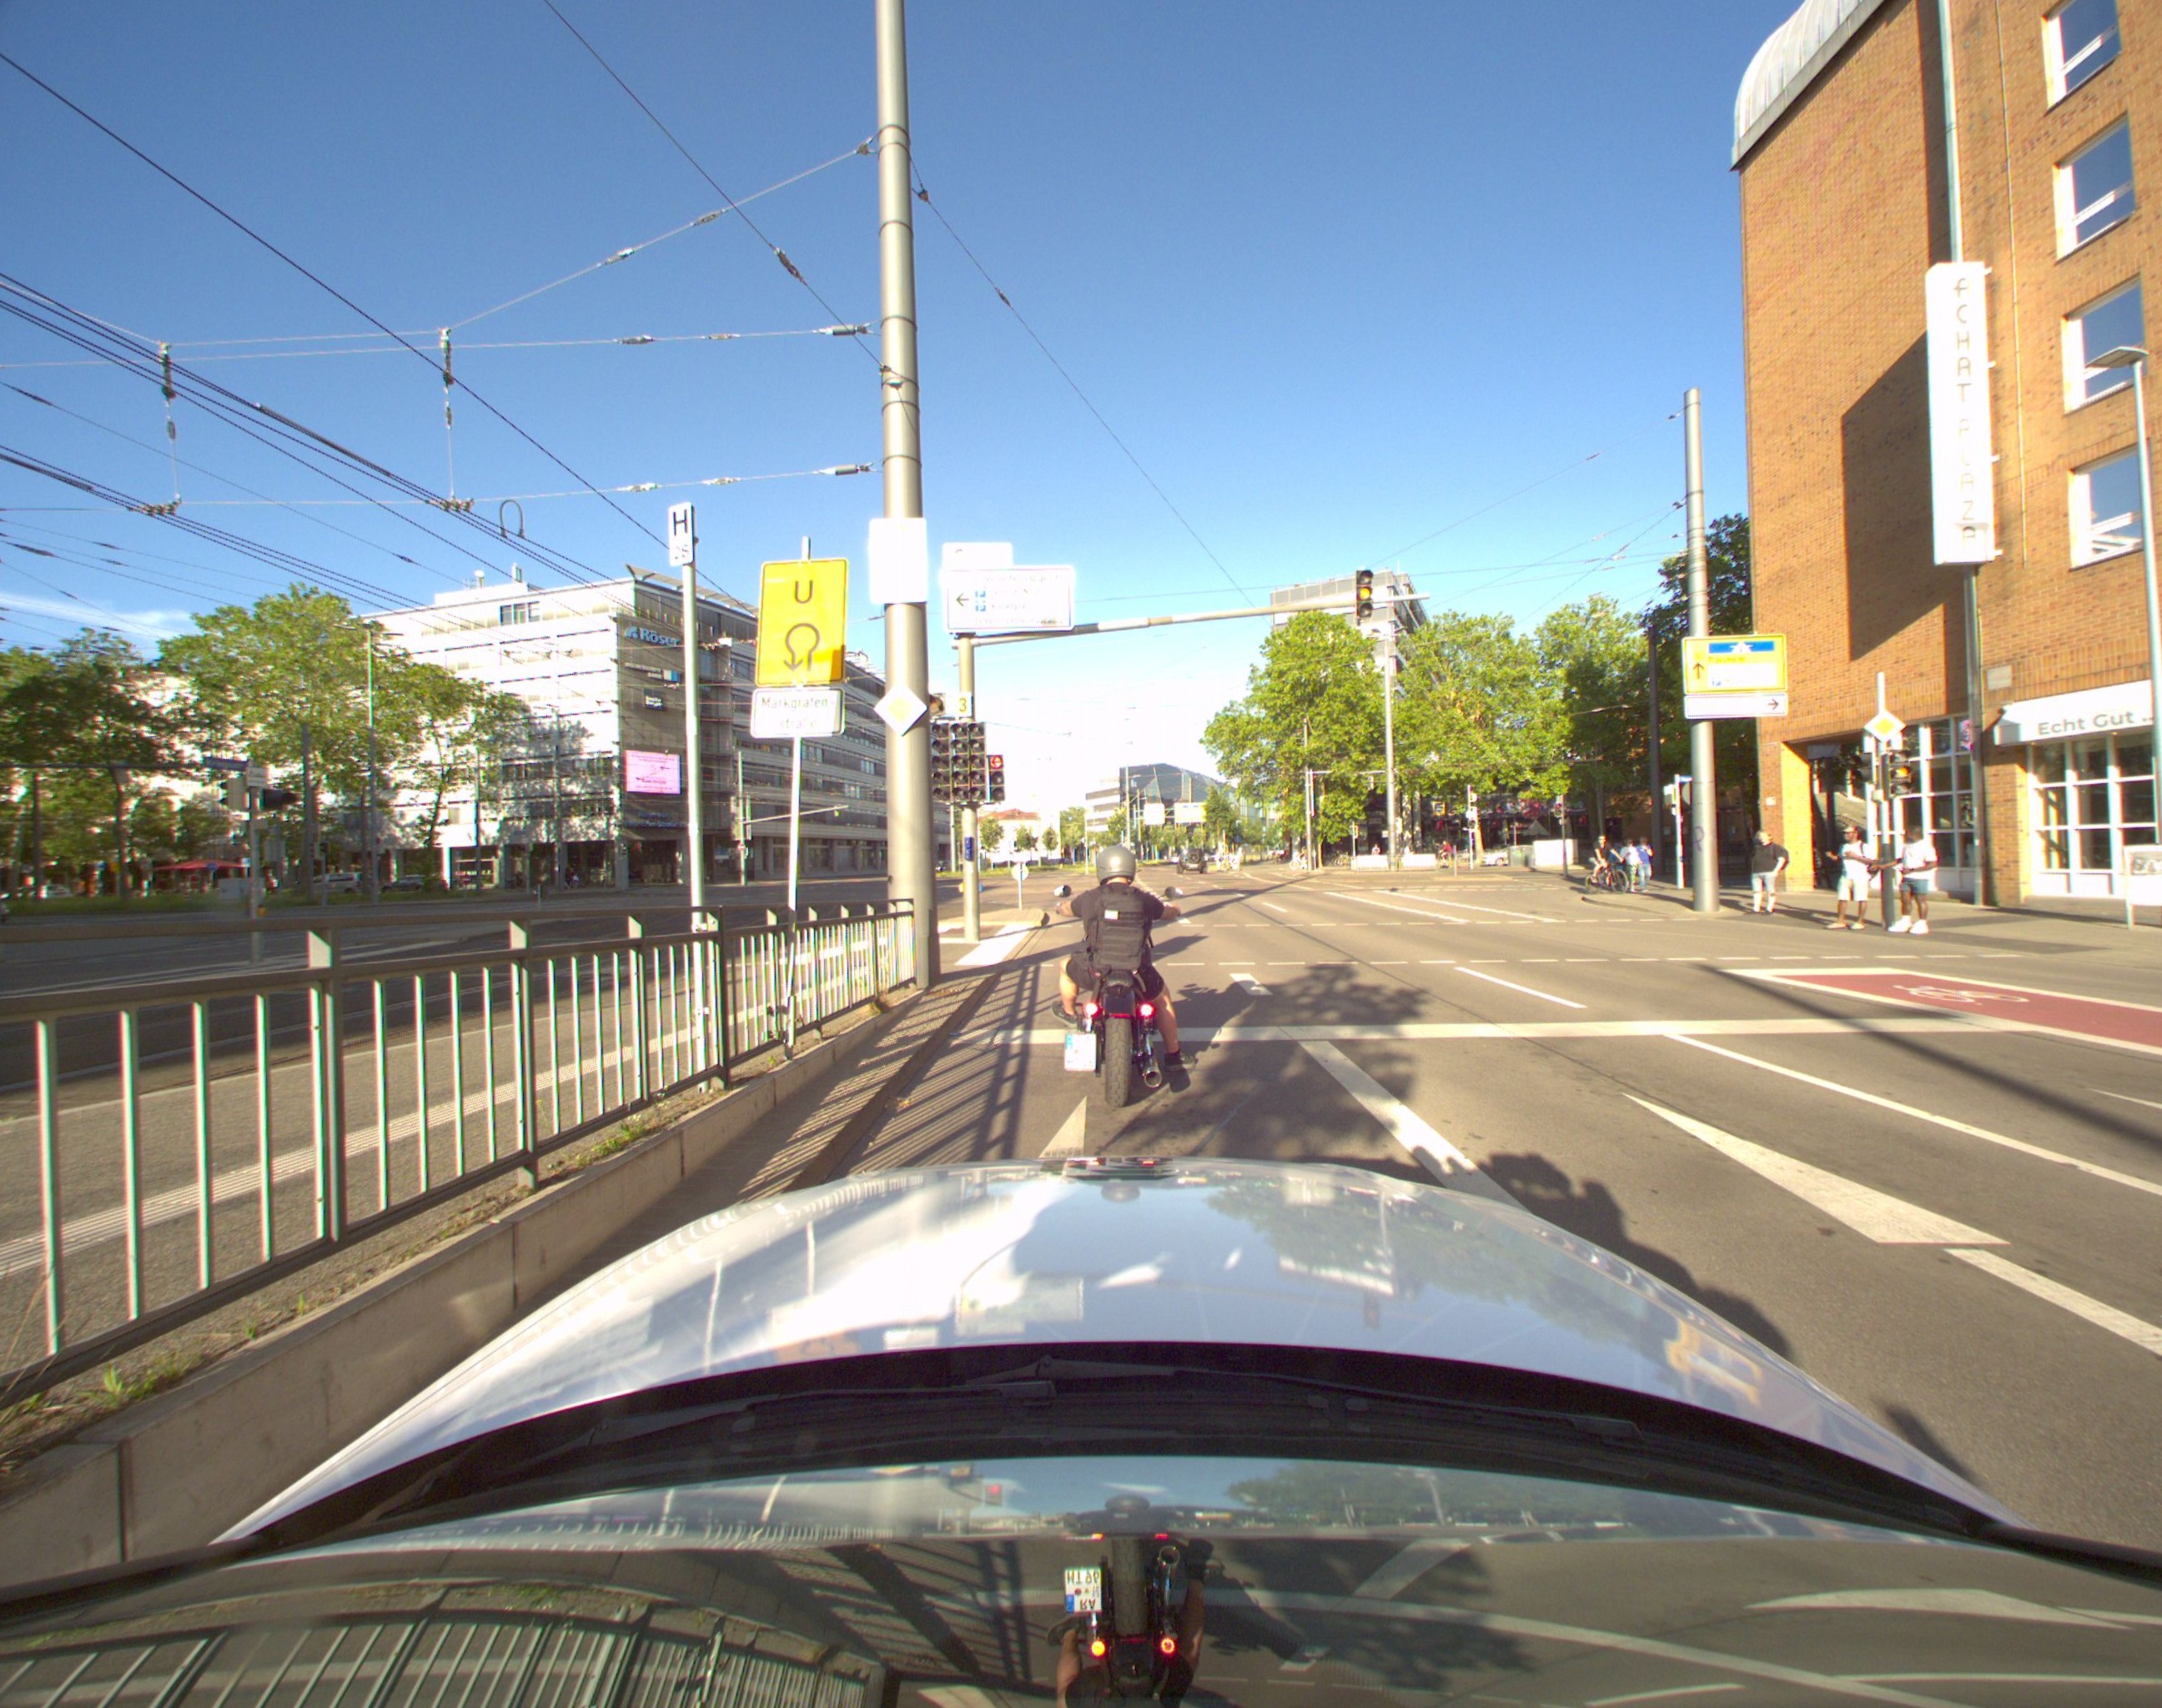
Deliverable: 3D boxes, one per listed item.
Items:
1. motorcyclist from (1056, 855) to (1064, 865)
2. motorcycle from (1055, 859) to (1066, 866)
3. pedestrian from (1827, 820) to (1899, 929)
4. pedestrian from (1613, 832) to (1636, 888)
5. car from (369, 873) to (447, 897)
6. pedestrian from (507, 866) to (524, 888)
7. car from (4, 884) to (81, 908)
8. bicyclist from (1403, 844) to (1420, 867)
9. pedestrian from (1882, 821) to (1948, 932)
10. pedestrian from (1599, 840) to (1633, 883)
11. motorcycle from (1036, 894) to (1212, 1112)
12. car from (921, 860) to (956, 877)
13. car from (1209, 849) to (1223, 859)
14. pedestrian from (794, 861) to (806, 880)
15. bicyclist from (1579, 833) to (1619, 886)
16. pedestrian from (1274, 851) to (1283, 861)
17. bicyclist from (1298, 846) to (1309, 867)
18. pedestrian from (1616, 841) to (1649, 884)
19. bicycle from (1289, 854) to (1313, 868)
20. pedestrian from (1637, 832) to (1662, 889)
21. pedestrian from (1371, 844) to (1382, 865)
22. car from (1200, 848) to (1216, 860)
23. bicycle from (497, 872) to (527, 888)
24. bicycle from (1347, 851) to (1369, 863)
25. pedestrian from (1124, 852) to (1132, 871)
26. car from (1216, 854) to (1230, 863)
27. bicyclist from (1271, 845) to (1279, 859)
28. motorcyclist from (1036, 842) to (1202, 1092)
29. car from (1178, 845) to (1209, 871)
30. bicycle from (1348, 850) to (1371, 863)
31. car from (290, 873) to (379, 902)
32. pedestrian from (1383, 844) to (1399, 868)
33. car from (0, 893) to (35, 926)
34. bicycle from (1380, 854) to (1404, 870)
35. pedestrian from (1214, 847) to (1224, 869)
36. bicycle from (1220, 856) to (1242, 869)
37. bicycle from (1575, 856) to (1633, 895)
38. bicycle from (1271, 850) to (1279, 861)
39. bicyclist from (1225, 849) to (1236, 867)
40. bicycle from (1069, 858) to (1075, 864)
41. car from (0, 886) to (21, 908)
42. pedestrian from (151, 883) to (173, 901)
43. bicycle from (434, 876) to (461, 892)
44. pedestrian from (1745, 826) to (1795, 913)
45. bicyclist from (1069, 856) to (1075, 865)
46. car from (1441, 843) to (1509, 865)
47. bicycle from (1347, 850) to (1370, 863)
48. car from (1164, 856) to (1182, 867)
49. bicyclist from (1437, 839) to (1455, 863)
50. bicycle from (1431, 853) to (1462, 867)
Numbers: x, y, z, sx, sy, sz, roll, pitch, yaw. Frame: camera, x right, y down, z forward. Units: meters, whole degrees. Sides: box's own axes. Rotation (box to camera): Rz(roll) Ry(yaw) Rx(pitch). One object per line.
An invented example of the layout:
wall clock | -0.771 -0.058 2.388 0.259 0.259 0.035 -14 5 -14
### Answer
motorcyclist | -3.804 1.148 149.481 1.010 1.731 1.468 -2 0 20
motorcycle | -3.821 1.626 149.423 0.975 1.232 2.957 -2 0 19
pedestrian | 13.679 0.352 14.255 0.500 1.833 0.725 -3 -1 -33
pedestrian | 16.953 0.188 25.405 0.556 1.704 0.663 -1 -1 32
car | -50.467 2.336 61.099 4.378 1.572 1.869 -2 2 6
pedestrian | -43.278 1.763 62.298 0.831 1.610 0.607 0 3 5
car | -79.772 3.206 62.596 3.835 1.638 1.869 -2 0 6
bicyclist | 29.238 0.119 72.005 1.219 1.931 0.837 -1 0 9
pedestrian | 13.751 0.369 13.443 0.402 1.774 0.580 -3 -1 6
pedestrian | 19.057 0.264 29.027 0.674 1.539 0.741 0 -1 -6
motorcycle | 0.284 0.914 5.837 1.002 1.125 2.324 0 0 2
car | -13.846 1.360 79.094 1.779 1.465 4.326 -2 0 12
car | 24.498 -0.033 147.928 1.705 1.657 3.774 -2 0 22
pedestrian | -27.308 1.640 79.269 0.670 1.823 0.888 -3 -1 12
bicyclist | 15.593 0.163 24.528 0.575 1.515 0.852 -6 1 7
pedestrian | 21.937 0.215 90.350 0.777 1.057 0.819 -2 0 24
bicyclist | 17.741 0.213 64.935 0.737 1.694 0.572 -2 -1 13
pedestrian | 19.855 0.298 29.345 0.649 1.539 0.741 0 -1 -6
bicycle | 17.528 0.572 64.969 1.840 1.021 0.518 -2 -1 13
pedestrian | 17.552 0.212 25.164 0.596 1.727 0.606 -1 -1 34
pedestrian | 25.635 0.042 70.613 0.840 1.852 0.813 1 0 16
car | 21.931 -0.012 140.912 1.803 1.818 3.965 -2 0 23
bicycle | -43.262 1.960 61.886 1.834 1.163 0.613 -1 3 3
bicycle | 22.756 0.242 66.942 1.692 0.986 0.392 -2 0 15
pedestrian | 3.998 0.639 69.062 0.654 1.582 0.490 -1 0 5
car | 23.649 0.749 135.695 1.827 1.464 4.017 -1 -1 17
bicyclist | 26.952 -0.249 113.094 0.853 1.841 1.262 -2 0 16
motorcyclist | 0.257 0.702 5.702 1.018 1.552 1.287 0 0 1
car | 8.292 0.315 60.360 2.043 1.874 4.233 0 -1 5
bicycle | 22.306 0.181 65.196 1.692 0.986 0.392 -2 0 15
car | -56.211 2.500 61.348 4.888 1.843 1.930 -2 2 3
pedestrian | 20.614 0.111 54.143 0.767 1.594 0.838 0 -1 0
car | -46.497 2.340 33.890 3.602 1.328 1.653 0 -1 -4
bicycle | 20.631 0.549 54.069 0.787 1.052 1.922 0 -1 -1
pedestrian | 11.707 0.357 69.174 0.693 1.837 0.518 -1 -1 37
bicycle | 12.346 0.705 67.030 1.612 1.021 0.519 -2 -1 25
bicycle | 15.624 0.629 24.377 0.597 1.050 1.885 -6 0 6
bicycle | 26.937 0.164 113.005 0.853 1.481 2.587 -2 0 17
bicyclist | 12.295 0.338 67.060 0.736 1.503 0.573 -2 -1 25
bicycle | -1.798 1.303 158.726 0.637 1.107 1.693 -1 0 20
car | -85.490 3.401 63.101 4.056 1.629 1.995 -2 1 2
pedestrian | -81.921 3.428 72.626 0.985 1.546 0.875 -2 -1 9
bicycle | -51.209 2.404 65.874 0.466 1.151 1.844 -1 1 9
pedestrian | 14.297 0.307 16.896 0.577 1.767 0.687 -1 1 -39
bicyclist | -1.812 1.247 158.726 0.757 1.667 0.998 -1 0 19
car | 27.992 0.001 57.944 3.967 1.486 2.003 0 -1 6
bicycle | 22.502 0.217 66.037 1.692 0.986 0.392 -2 0 15
car | 13.273 1.034 117.026 1.886 1.508 4.018 -1 -1 17
bicyclist | 25.199 -0.229 56.201 0.921 1.615 0.638 -2 0 5
bicycle | 25.190 0.434 56.198 1.844 0.910 0.653 -2 0 6
